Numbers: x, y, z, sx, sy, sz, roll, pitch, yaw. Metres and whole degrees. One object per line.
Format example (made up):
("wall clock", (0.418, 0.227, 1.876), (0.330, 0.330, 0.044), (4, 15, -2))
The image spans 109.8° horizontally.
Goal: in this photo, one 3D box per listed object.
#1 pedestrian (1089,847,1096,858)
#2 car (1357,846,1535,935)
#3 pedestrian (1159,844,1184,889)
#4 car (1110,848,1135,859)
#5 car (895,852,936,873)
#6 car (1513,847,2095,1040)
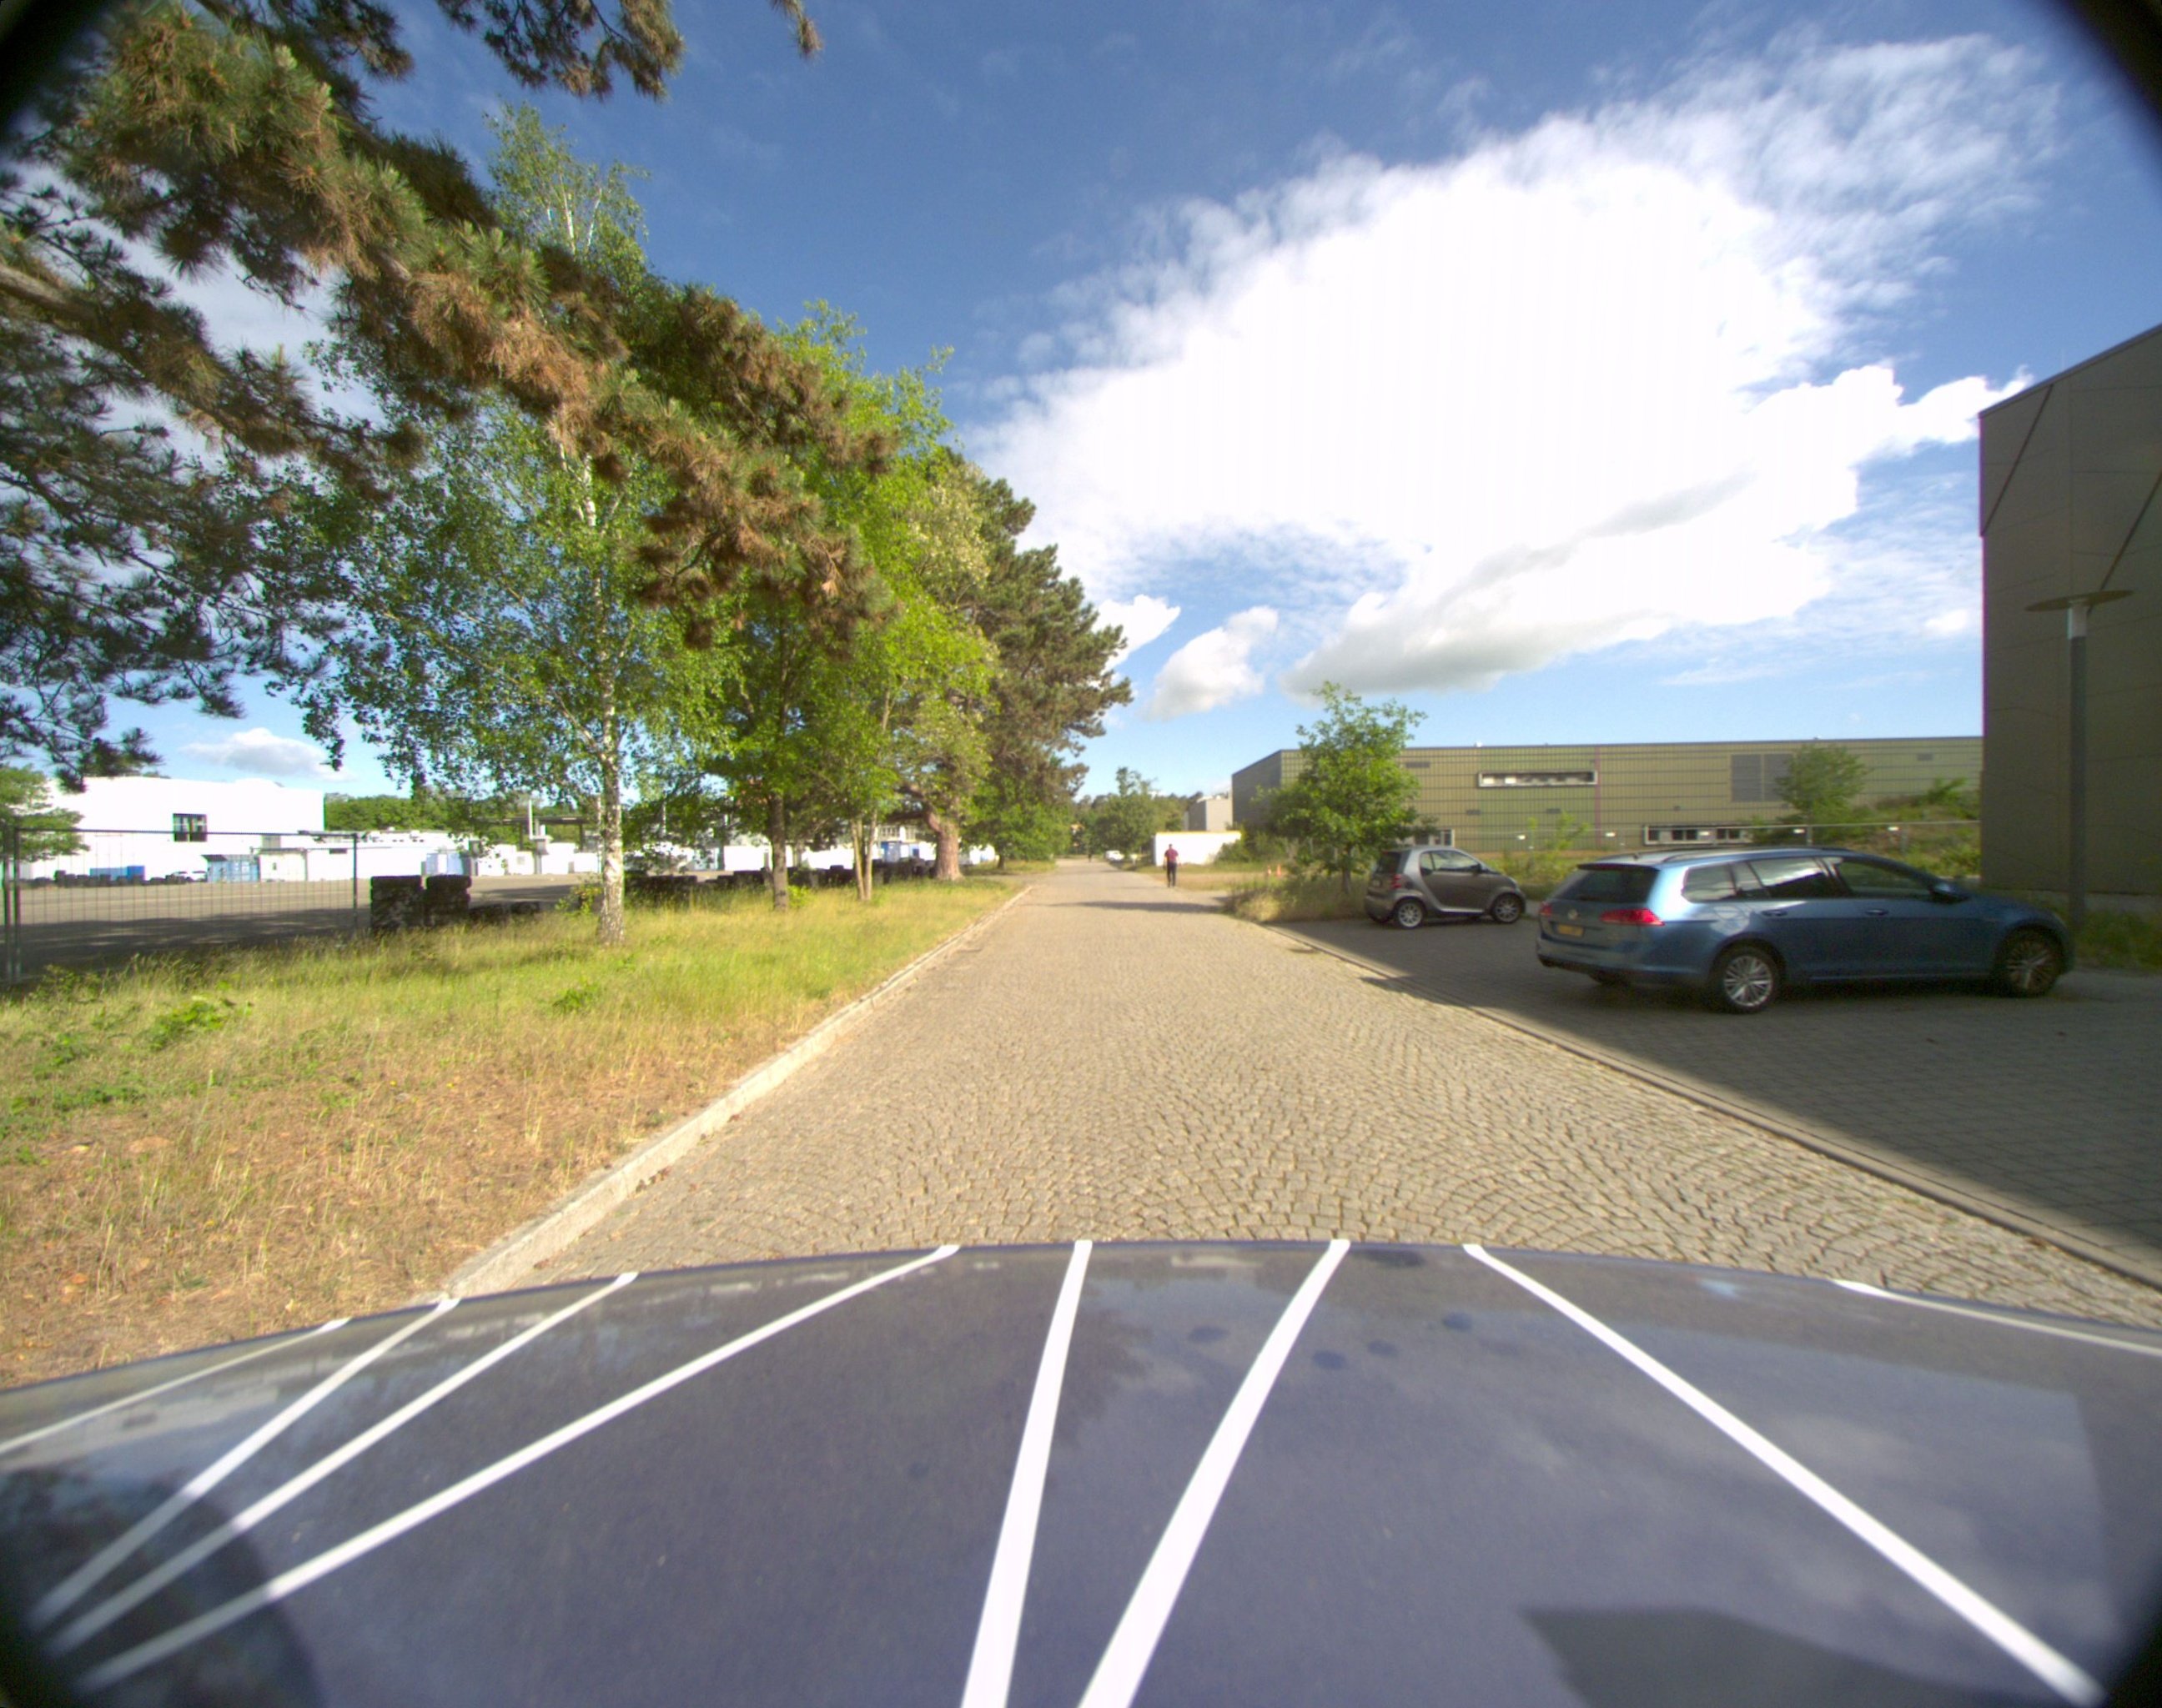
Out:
("pedestrian", (1.803, -0.237, 119.096), (0.908, 1.797, 0.983), (-1, 1, -7))
("car", (7.067, 0.674, 14.888), (2.706, 1.533, 1.518), (-3, 1, -1))
("pedestrian", (3.666, 0.494, 30.798), (0.806, 1.761, 1.152), (-1, 1, -4))
("car", (6.635, -0.157, 122.199), (3.996, 1.678, 2.000), (-1, 1, 3))
("car", (-12.304, 0.630, 56.799), (1.846, 1.440, 4.001), (-1, 1, 6))
("car", (6.904, 0.772, 7.546), (4.268, 1.456, 1.680), (-3, 1, -2))
